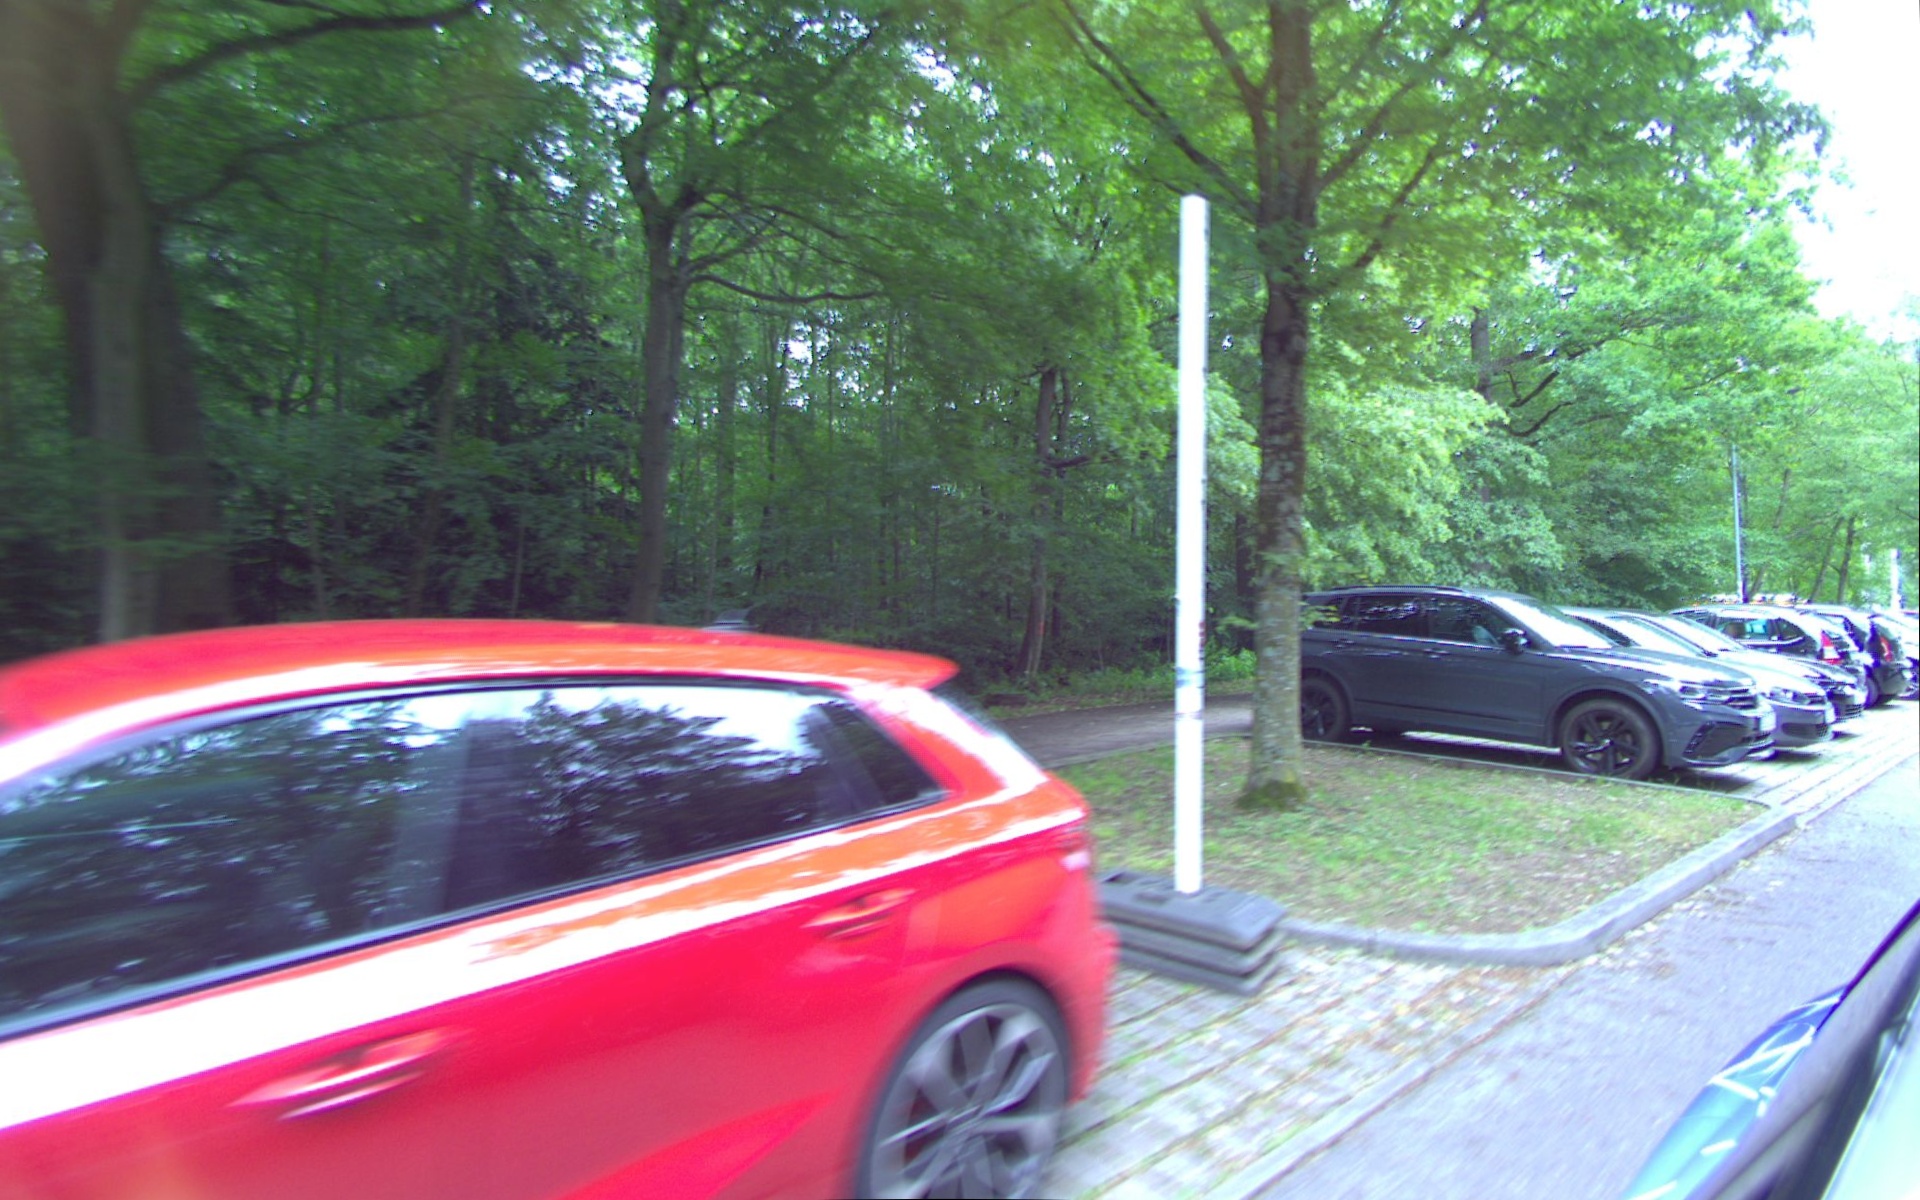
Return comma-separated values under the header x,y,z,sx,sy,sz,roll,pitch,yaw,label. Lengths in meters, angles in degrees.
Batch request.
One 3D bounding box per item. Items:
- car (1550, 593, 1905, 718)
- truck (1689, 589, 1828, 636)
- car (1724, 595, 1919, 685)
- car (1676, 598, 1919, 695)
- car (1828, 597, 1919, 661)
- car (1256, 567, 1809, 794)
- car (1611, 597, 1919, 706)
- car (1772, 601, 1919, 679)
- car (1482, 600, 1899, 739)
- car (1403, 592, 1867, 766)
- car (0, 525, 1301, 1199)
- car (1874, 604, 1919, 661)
x,y,z,sx,sy,sz,roll,pitch,yaw,label
11.156,0.692,14.929,1.817,1.550,3.837,0,1,-38,car
63.256,0.965,80.397,2.810,3.559,8.257,2,-1,-28,truck
17.161,0.714,19.065,1.939,1.579,4.022,1,-1,-34,car
15.187,0.751,17.551,1.858,1.531,4.197,1,-1,-38,car
22.734,0.681,23.453,1.838,1.459,3.799,1,-1,-42,car
5.255,0.602,9.809,1.923,1.687,4.275,0,0,-39,car
12.933,0.718,16.223,1.775,1.475,3.838,0,1,-37,car
19.194,0.792,20.502,1.849,1.503,3.986,1,-1,-38,car
9.218,0.751,13.060,1.916,1.494,3.997,0,0,-37,car
7.333,0.715,11.258,1.943,1.571,3.990,1,0,-44,car
-1.473,0.666,2.119,4.885,1.498,1.996,0,0,-41,car
25.251,0.819,24.767,1.842,1.429,3.946,1,-1,-34,car
